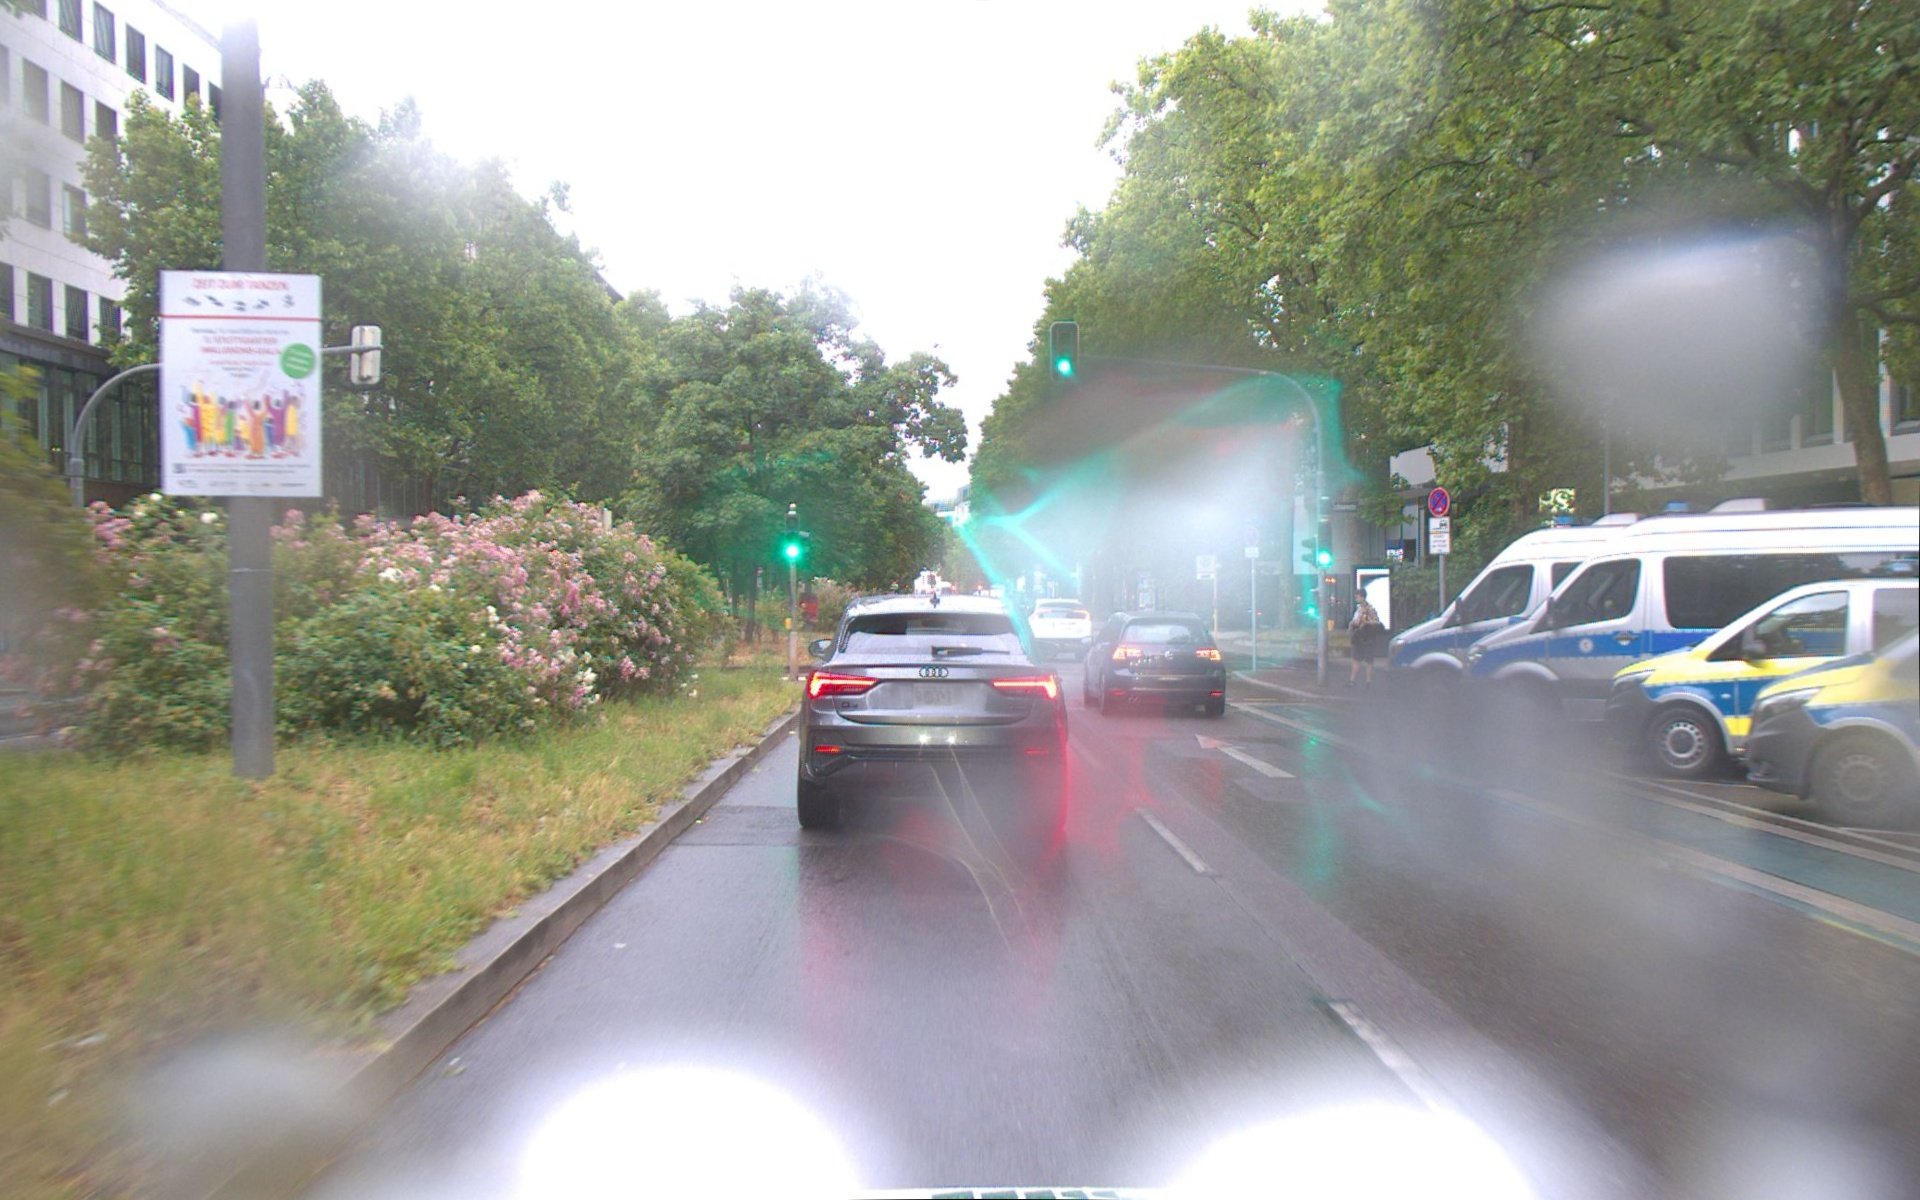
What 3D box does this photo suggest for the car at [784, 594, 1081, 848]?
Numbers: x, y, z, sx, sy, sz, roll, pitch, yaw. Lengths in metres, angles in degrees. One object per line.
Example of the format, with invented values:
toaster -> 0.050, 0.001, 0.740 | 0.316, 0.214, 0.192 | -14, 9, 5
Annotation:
car -> -0.153, 0.735, 12.436 | 1.825, 1.559, 4.526 | 0, 0, 0

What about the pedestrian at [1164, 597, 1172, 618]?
pedestrian -> 18.321, 0.649, 145.591 | 0.637, 1.847, 0.655 | 0, 0, -2

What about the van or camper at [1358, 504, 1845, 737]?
van or camper -> 8.386, 0.239, 21.942 | 5.701, 2.724, 2.139 | 0, 0, 37

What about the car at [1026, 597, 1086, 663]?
car -> 2.595, 0.800, 45.103 | 1.404, 1.714, 2.978 | -1, 0, -1

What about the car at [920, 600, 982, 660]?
car -> -0.291, 0.822, 47.502 | 1.687, 1.605, 3.961 | 0, 0, -1

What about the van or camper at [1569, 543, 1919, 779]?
van or camper -> 8.488, 0.547, 15.479 | 4.914, 2.049, 1.993 | -1, -1, 35

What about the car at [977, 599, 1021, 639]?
car -> 1.822, 0.872, 78.143 | 1.953, 1.780, 3.999 | 0, 0, -1

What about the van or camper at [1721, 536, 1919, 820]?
van or camper -> 8.444, 0.587, 11.967 | 5.101, 2.027, 1.994 | 1, -1, 34

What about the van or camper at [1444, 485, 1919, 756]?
van or camper -> 8.572, 0.209, 18.584 | 5.693, 2.727, 1.993 | 0, 0, 35

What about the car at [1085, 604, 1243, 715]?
car -> 2.899, 0.804, 24.267 | 1.729, 1.437, 3.999 | -1, 0, -1
